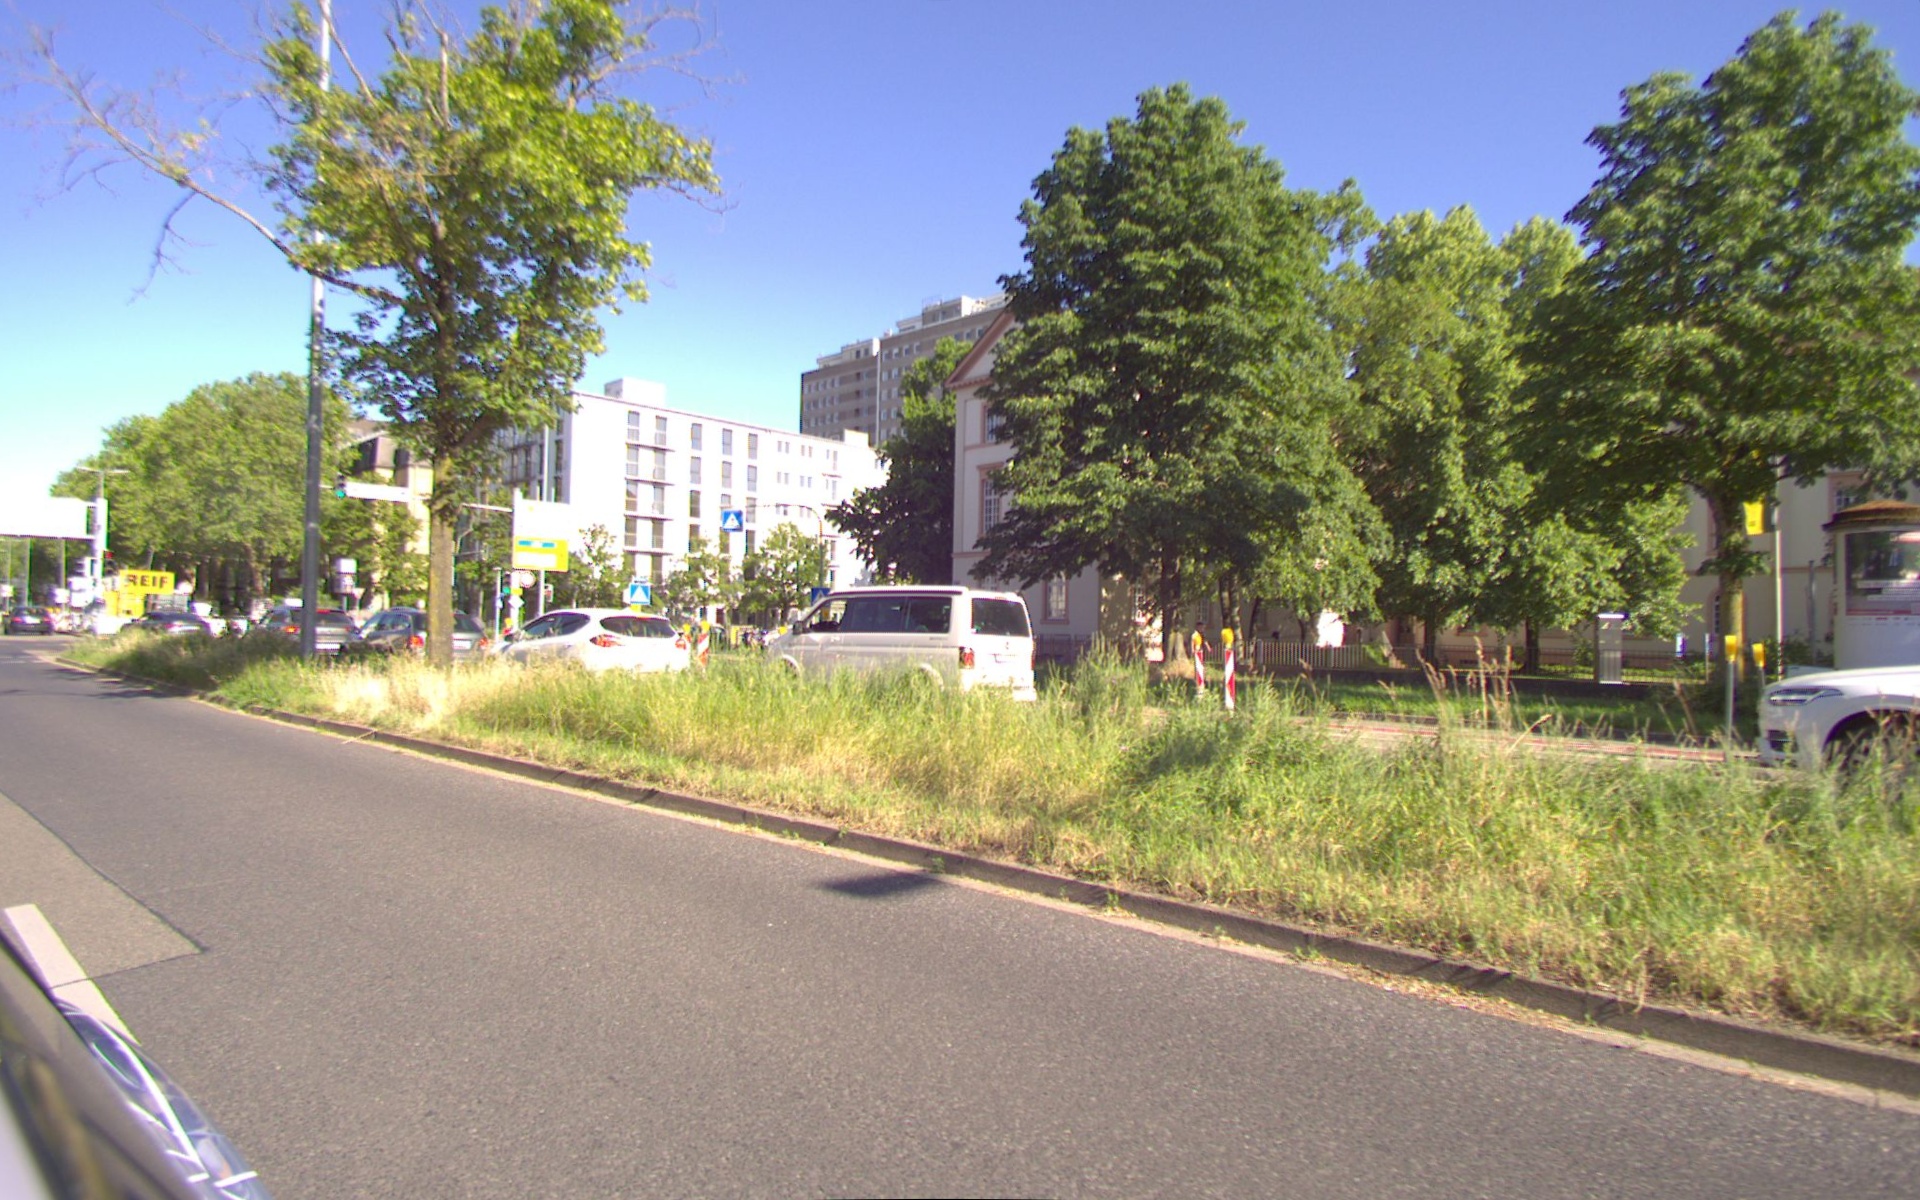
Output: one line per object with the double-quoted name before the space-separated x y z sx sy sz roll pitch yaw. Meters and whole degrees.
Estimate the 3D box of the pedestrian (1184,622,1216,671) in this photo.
"pedestrian" 7.673 1.479 32.311 0.780 1.547 0.733 0 -2 36

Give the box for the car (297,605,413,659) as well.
"car" -18.759 0.933 31.304 4.344 1.530 1.777 0 0 41

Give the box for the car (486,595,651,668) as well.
"car" -9.023 0.694 23.188 4.077 1.530 1.777 0 -2 40

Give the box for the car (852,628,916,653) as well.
"car" -5.547 2.955 74.503 1.919 1.630 4.644 3 2 43

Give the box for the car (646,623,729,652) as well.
"car" -17.075 2.321 63.495 4.637 1.630 1.922 1 1 -40

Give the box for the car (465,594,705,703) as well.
"car" -6.112 0.712 16.274 4.202 1.530 1.777 0 -2 40

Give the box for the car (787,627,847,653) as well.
"car" -9.884 2.764 70.098 3.940 1.630 1.563 1 2 -44

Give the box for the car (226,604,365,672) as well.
"car" -16.760 0.892 25.455 4.344 1.530 1.777 0 0 41

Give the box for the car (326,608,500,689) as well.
"car" -11.549 0.945 21.254 4.360 1.530 1.777 -1 -1 40

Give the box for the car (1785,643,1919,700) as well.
"car" 30.026 2.346 33.057 4.684 1.503 1.625 4 2 41

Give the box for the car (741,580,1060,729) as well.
"car" -1.081 0.784 16.375 5.014 2.043 2.210 0 -2 40

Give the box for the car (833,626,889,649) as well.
"car" -7.516 2.834 77.018 3.940 1.630 1.921 1 2 -44

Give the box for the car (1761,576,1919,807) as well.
"car" 9.090 0.718 7.394 5.028 1.756 1.777 0 -2 40

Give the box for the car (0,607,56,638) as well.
"car" -50.687 1.183 54.648 4.268 1.598 1.841 0 -2 35

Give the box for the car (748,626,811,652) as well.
"car" -12.748 2.730 71.518 3.940 1.630 1.921 1 2 -44
